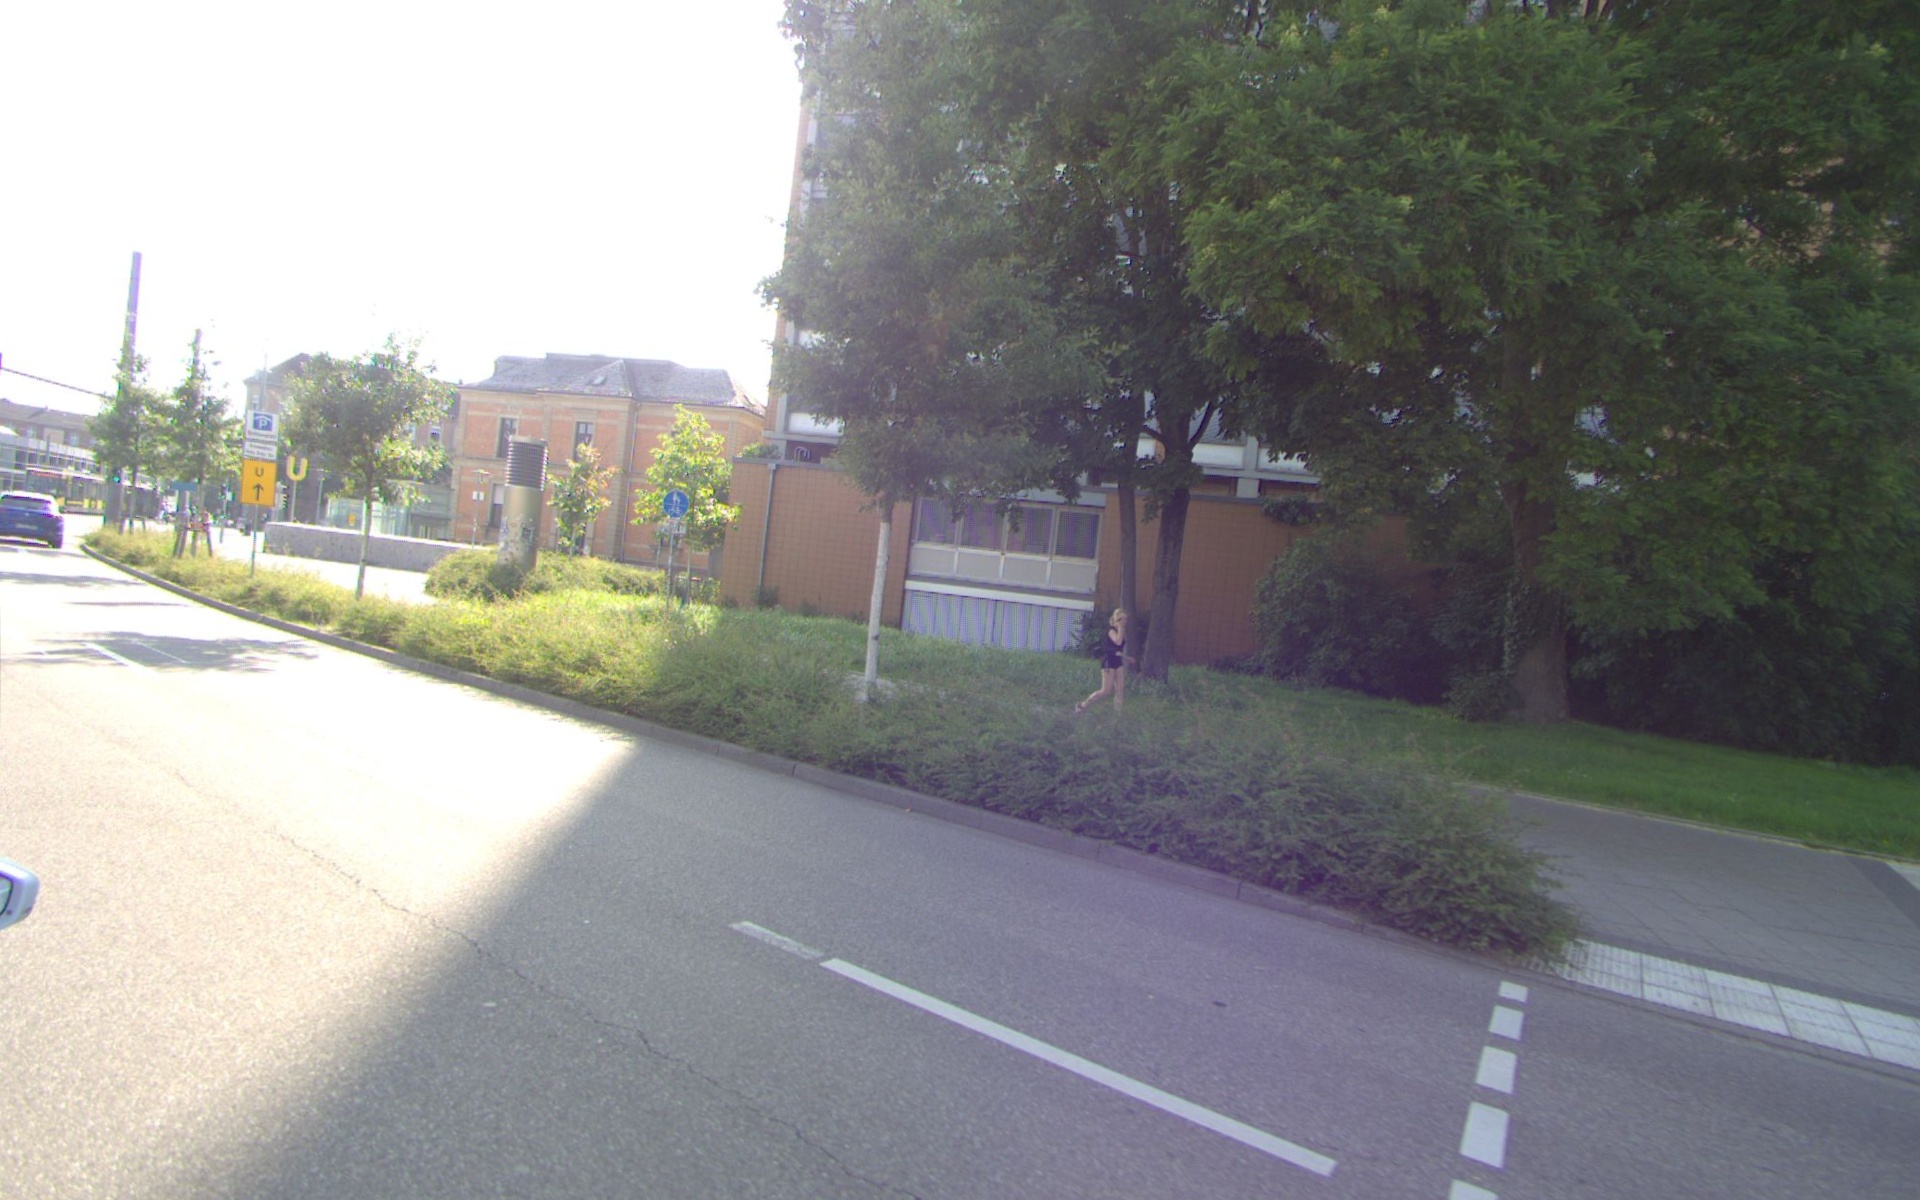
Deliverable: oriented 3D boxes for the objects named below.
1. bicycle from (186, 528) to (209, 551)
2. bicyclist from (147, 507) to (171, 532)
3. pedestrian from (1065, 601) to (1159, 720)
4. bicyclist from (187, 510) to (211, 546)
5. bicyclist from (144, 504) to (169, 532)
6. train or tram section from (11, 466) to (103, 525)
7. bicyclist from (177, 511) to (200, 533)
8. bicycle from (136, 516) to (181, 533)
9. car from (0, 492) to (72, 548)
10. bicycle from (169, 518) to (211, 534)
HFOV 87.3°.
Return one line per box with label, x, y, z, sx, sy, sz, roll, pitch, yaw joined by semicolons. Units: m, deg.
bicycle;-35.588;-2.836;46.995;0.715;0.972;1.903;6;0;-35
bicyclist;-65.741;-6.599;82.564;1.073;1.822;0.936;7;1;21
pedestrian;2.031;0.807;13.460;0.845;1.461;0.723;7;1;41
bicyclist;-35.563;-3.363;47.019;0.715;1.532;0.995;6;1;-36
bicyclist;-64.414;-6.578;80.675;1.072;2.050;0.937;7;1;7
train or tram section;-68.293;-7.795;76.377;2.633;3.746;10.508;6;1;-29
bicyclist;-65.295;-6.623;85.144;1.073;1.701;0.936;7;1;21
bicycle;-65.786;-6.174;82.589;1.073;0.976;2.626;7;0;20
car;-29.440;-2.560;31.611;4.352;1.446;1.822;7;1;43
bicycle;-65.277;-6.244;85.336;1.073;0.976;2.626;7;0;20
